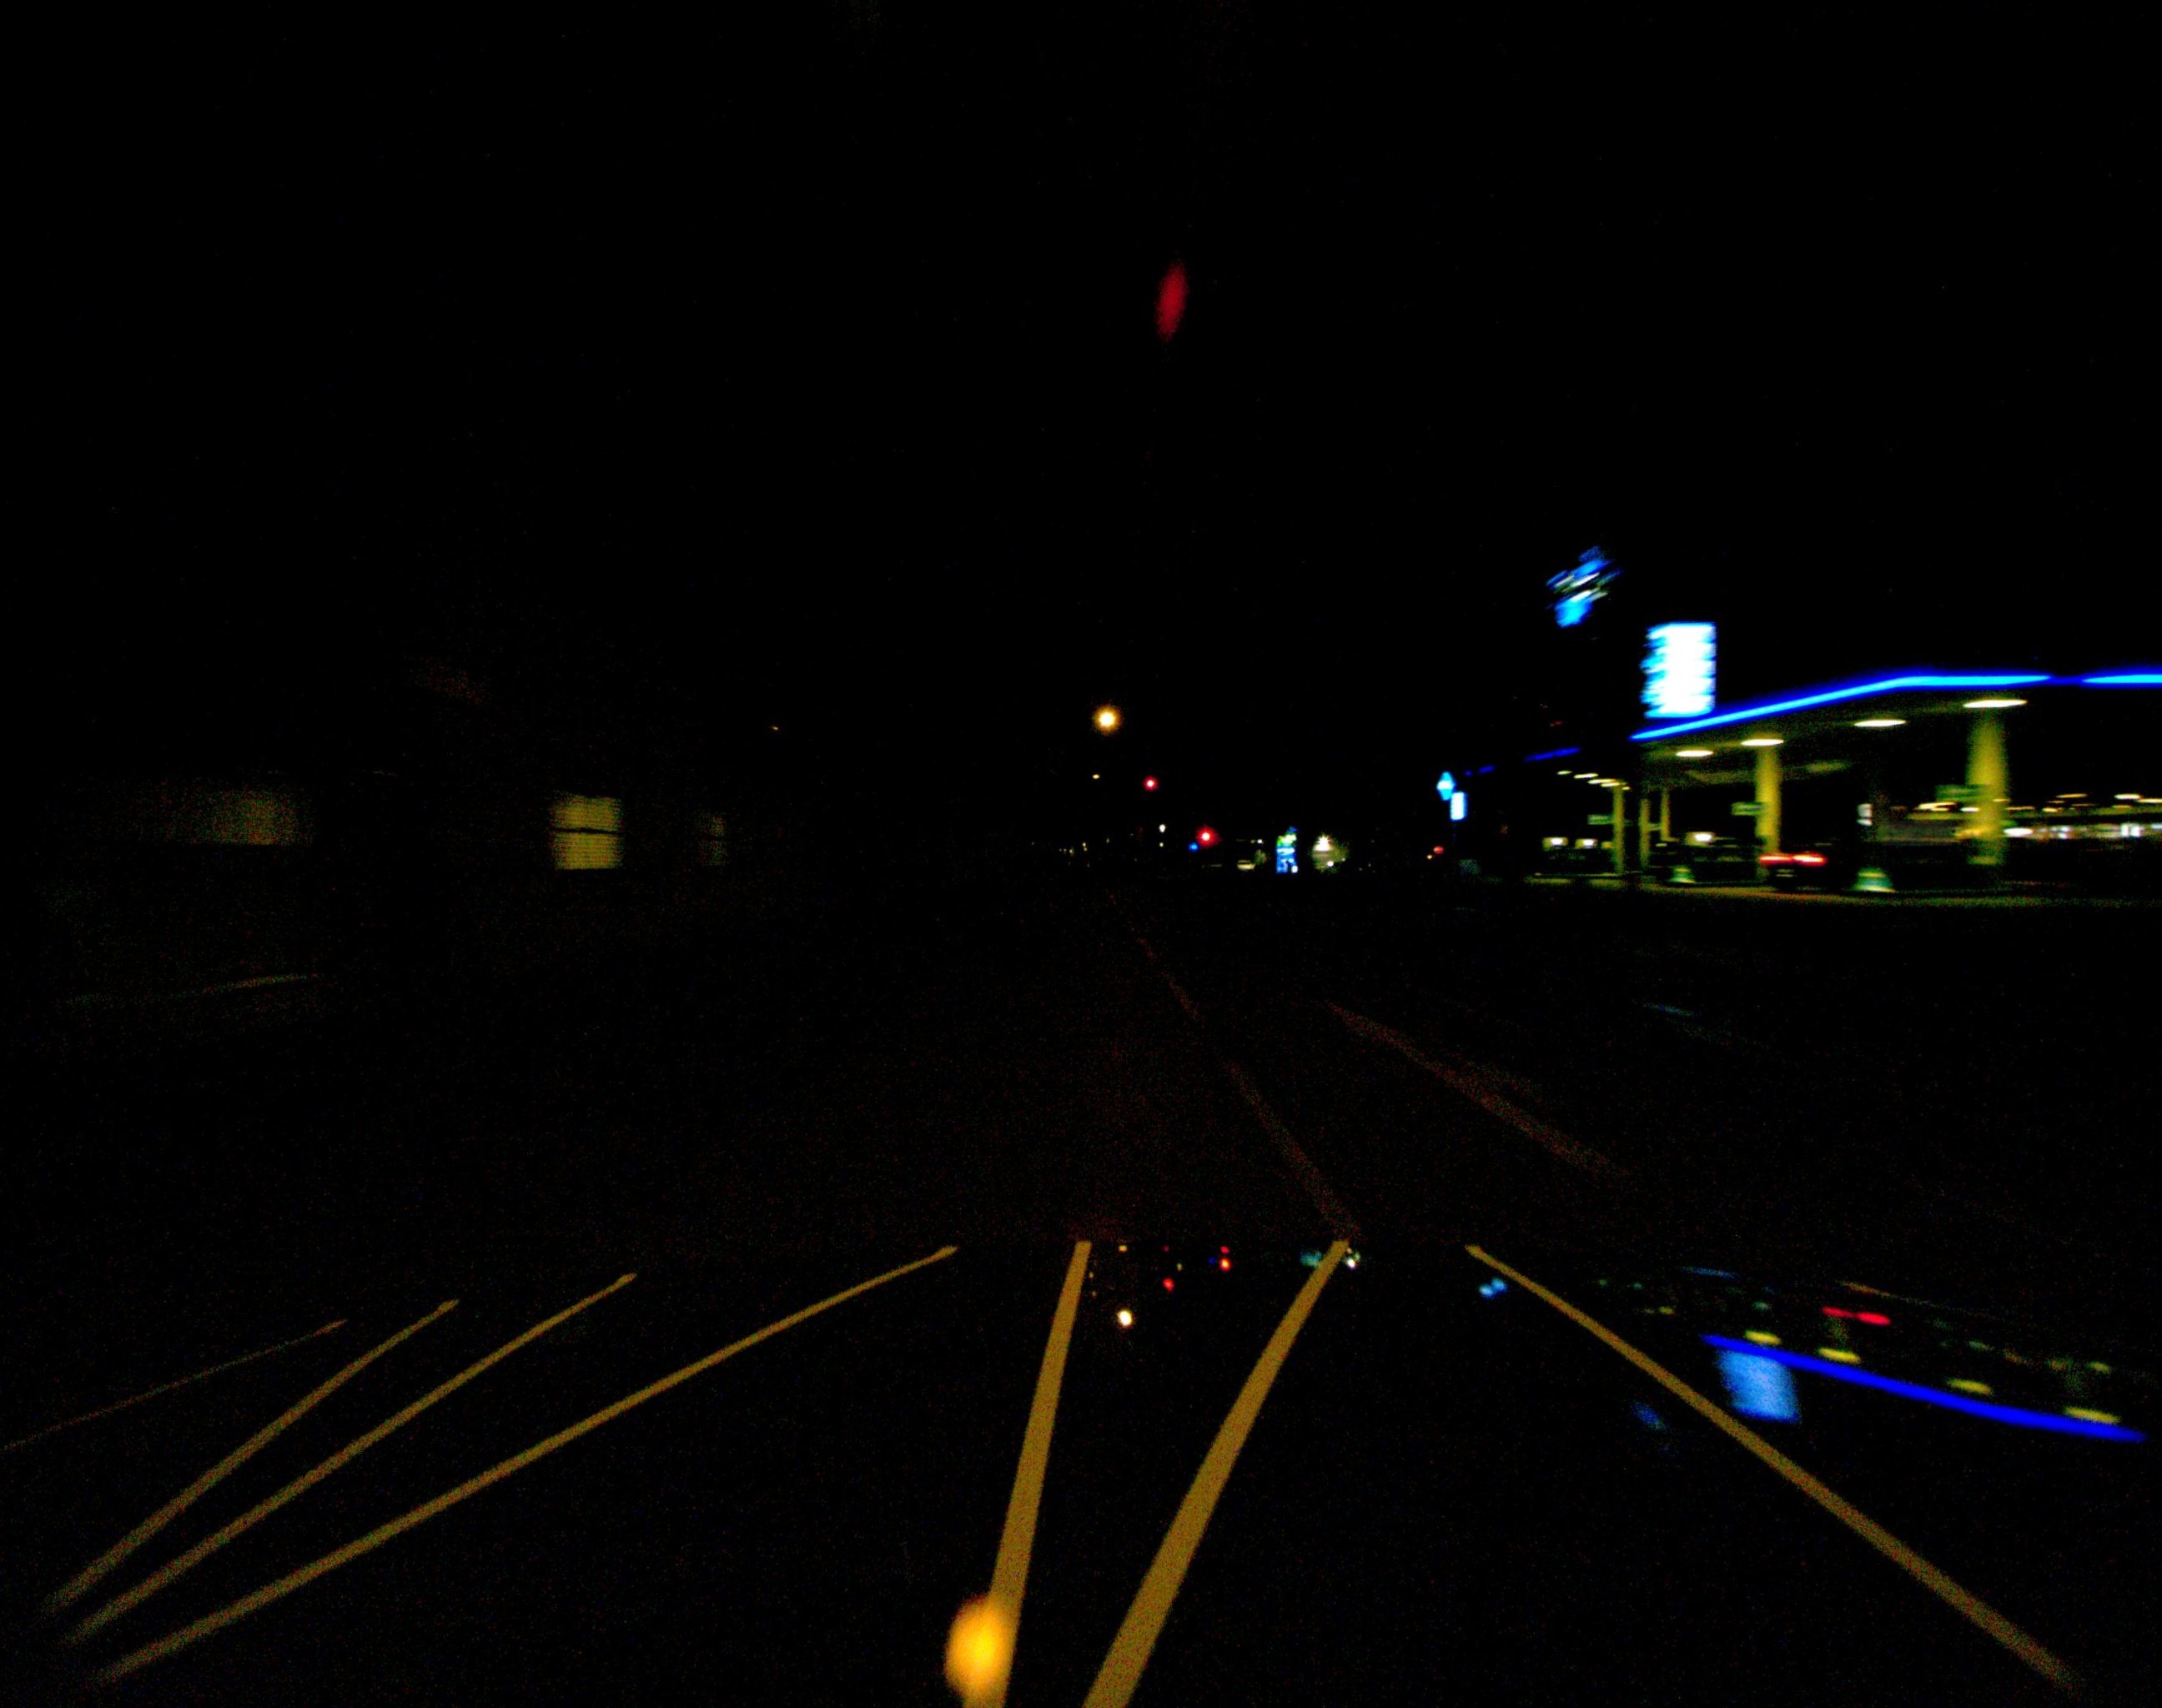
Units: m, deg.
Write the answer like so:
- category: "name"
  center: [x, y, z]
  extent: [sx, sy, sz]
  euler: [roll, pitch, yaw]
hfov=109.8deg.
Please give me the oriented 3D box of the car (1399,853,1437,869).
- category: "car"
  center: [32.230, 0.626, 72.761]
  extent: [1.864, 1.469, 4.086]
  euler: [-1, 0, 0]

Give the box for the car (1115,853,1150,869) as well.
- category: "car"
  center: [5.579, 0.744, 82.357]
  extent: [3.576, 1.619, 1.620]
  euler: [0, 1, -3]

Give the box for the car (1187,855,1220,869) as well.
- category: "car"
  center: [14.162, 0.873, 87.774]
  extent: [3.576, 1.577, 1.634]
  euler: [0, 1, -1]

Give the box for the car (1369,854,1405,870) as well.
- category: "car"
  center: [29.199, 0.719, 72.638]
  extent: [1.732, 1.469, 4.086]
  euler: [-1, 0, 0]

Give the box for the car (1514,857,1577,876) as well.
- category: "car"
  center: [36.231, 0.955, 59.284]
  extent: [3.851, 1.403, 1.736]
  euler: [-1, 0, -1]

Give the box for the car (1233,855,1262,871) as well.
- category: "car"
  center: [15.948, 0.843, 72.800]
  extent: [1.864, 1.452, 4.070]
  euler: [-1, 0, 0]

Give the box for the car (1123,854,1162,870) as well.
- category: "car"
  center: [6.206, 0.775, 77.300]
  extent: [3.763, 1.577, 1.634]
  euler: [0, 1, -3]

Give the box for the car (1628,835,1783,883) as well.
- category: "car"
  center: [24.069, 0.176, 29.391]
  extent: [4.357, 1.717, 1.979]
  euler: [-1, 0, 0]

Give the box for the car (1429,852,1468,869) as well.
- category: "car"
  center: [35.416, 0.612, 73.338]
  extent: [1.781, 1.469, 4.027]
  euler: [-1, 0, 0]

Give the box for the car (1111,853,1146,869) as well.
- category: "car"
  center: [5.364, 0.747, 86.634]
  extent: [3.848, 1.781, 1.634]
  euler: [0, 1, -3]

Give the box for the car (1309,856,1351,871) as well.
- category: "car"
  center: [26.795, 1.001, 81.807]
  extent: [4.281, 1.469, 1.730]
  euler: [-1, 0, -27]

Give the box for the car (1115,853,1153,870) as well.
- category: "car"
  center: [5.815, 0.789, 83.913]
  extent: [4.055, 1.879, 1.634]
  euler: [0, 1, -3]

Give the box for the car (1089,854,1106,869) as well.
- category: "car"
  center: [1.959, 0.891, 91.482]
  extent: [1.936, 1.646, 3.833]
  euler: [0, 0, 0]

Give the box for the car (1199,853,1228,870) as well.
- category: "car"
  center: [12.674, 0.713, 72.877]
  extent: [1.999, 1.548, 4.386]
  euler: [-1, 0, -1]

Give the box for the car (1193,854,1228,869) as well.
- category: "car"
  center: [14.371, 0.840, 84.458]
  extent: [3.575, 1.689, 1.634]
  euler: [0, 1, 0]

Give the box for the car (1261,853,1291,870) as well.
- category: "car"
  center: [18.837, 0.676, 73.580]
  extent: [1.864, 1.544, 4.070]
  euler: [-1, 0, 0]

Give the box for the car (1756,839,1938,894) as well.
- category: "car"
  center: [22.737, 0.354, 22.641]
  extent: [3.759, 1.524, 1.670]
  euler: [-1, 0, 0]

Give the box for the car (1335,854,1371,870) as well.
- category: "car"
  center: [25.982, 0.735, 72.774]
  extent: [1.864, 1.469, 4.353]
  euler: [-1, 0, 0]

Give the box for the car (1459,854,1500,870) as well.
- category: "car"
  center: [37.956, 0.751, 72.427]
  extent: [1.765, 1.469, 3.958]
  euler: [-1, 0, 0]
